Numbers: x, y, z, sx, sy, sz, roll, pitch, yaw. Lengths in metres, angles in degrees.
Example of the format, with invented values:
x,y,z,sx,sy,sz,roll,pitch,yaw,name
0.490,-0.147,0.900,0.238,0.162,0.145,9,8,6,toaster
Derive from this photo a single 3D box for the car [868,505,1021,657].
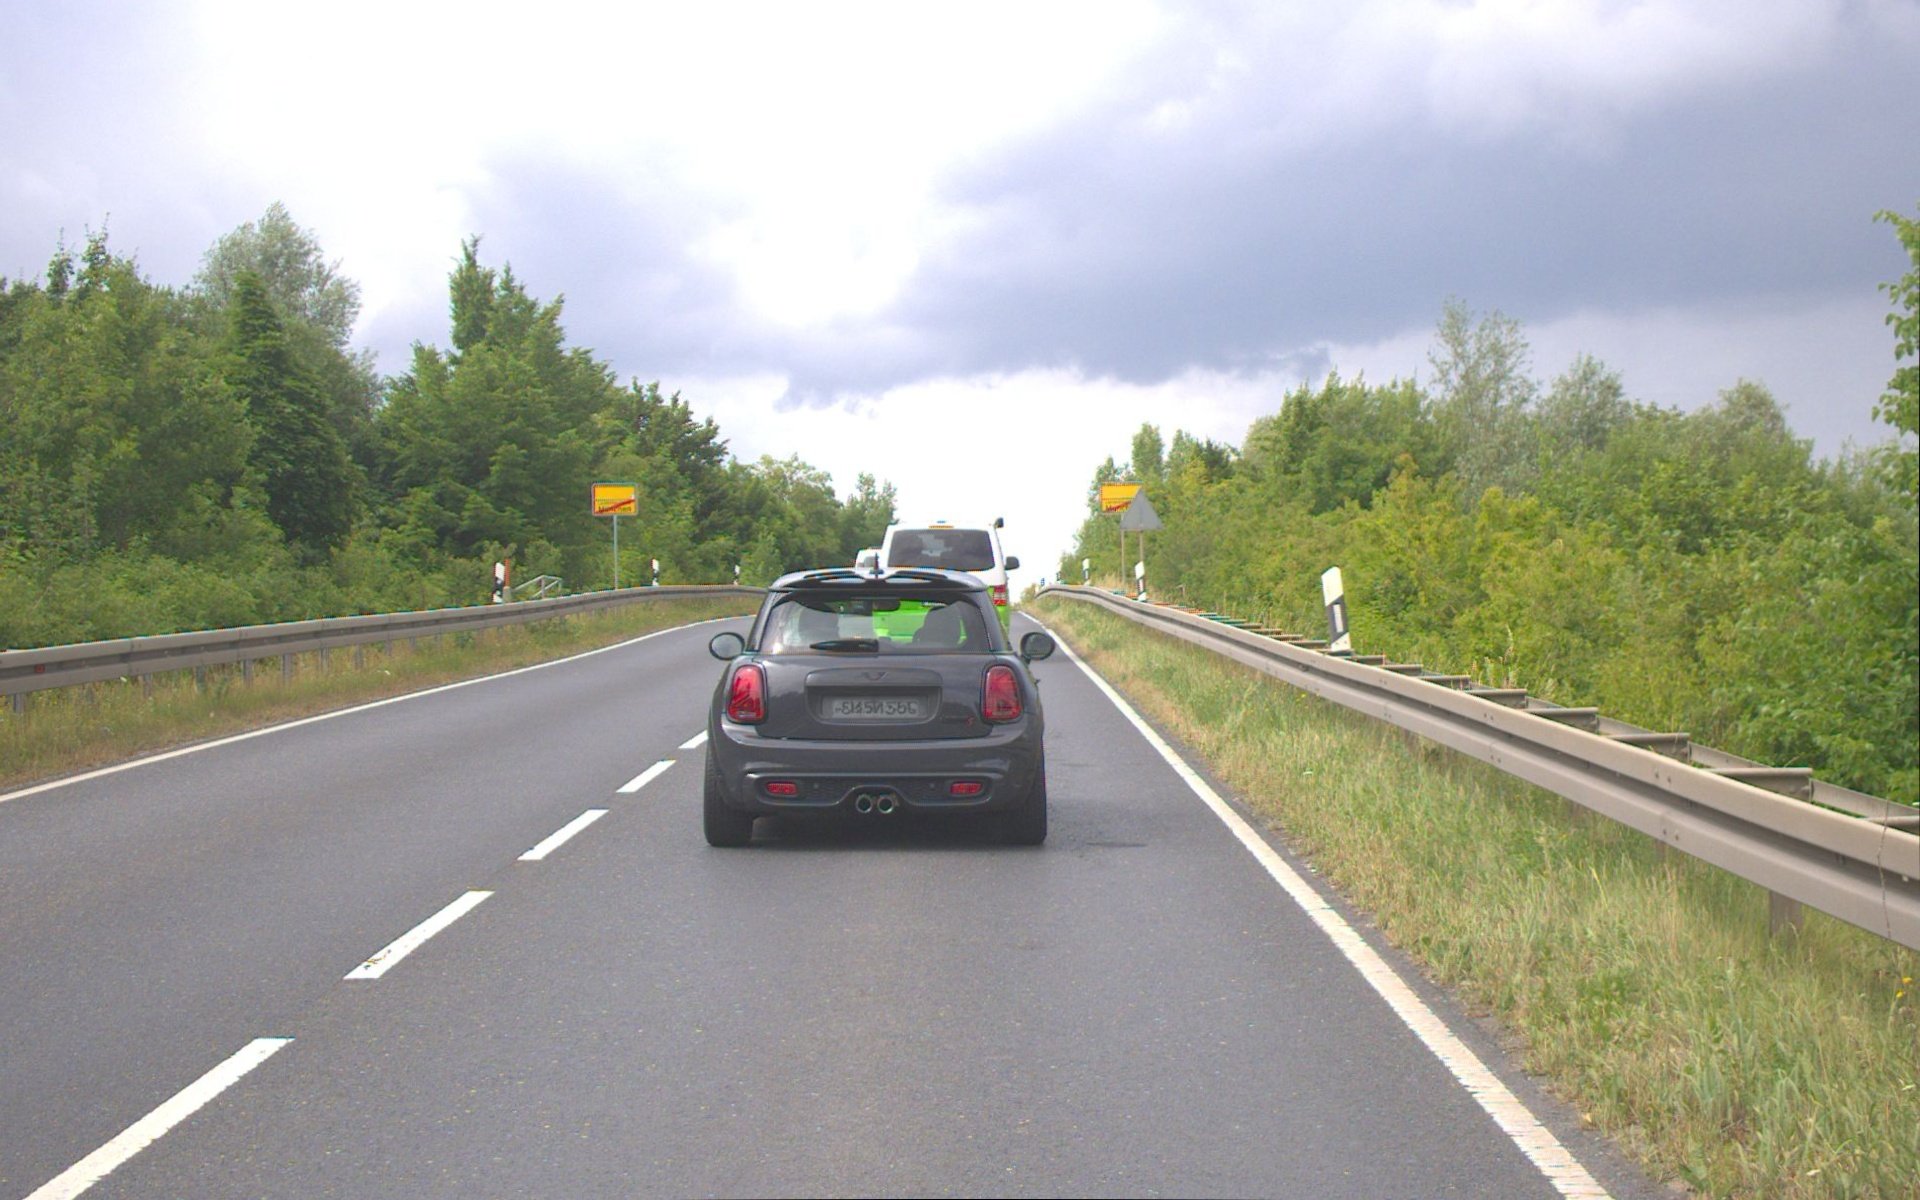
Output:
x,y,z,sx,sy,sz,roll,pitch,yaw,name
-0.181,-0.272,48.255,2.022,2.006,4.000,-1,0,1,car

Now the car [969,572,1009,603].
x,y,z,sx,sy,sz,roll,pitch,yaw,name
1.334,-0.584,157.544,1.694,1.315,4.000,-2,1,2,car

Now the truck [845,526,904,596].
x,y,z,sx,sy,sz,roll,pitch,yaw,name
-3.407,-1.555,137.960,2.065,2.733,7.007,0,1,1,truck

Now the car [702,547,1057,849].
x,y,z,sx,sy,sz,roll,pitch,yaw,name
-0.466,0.450,18.819,1.732,1.451,4.001,0,1,-2,car
